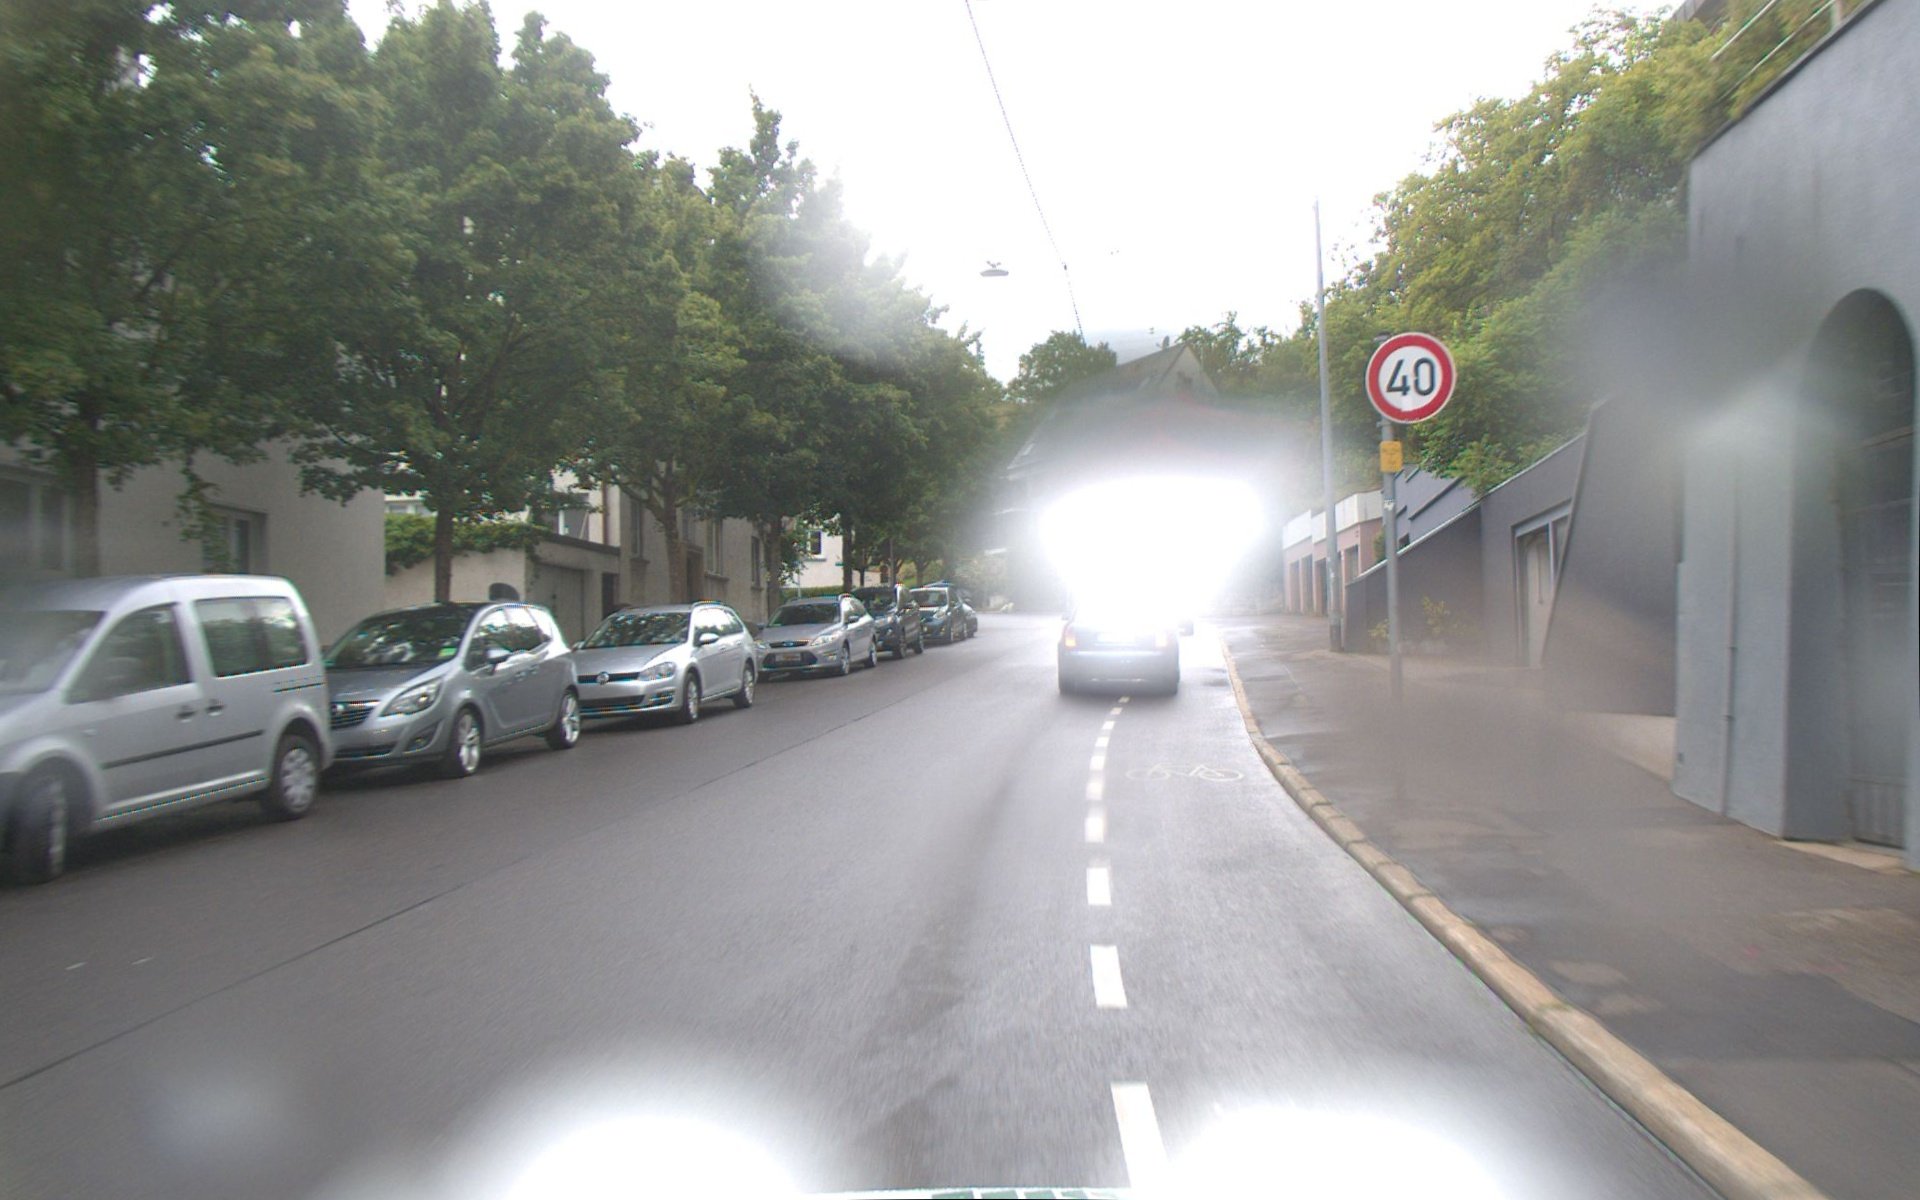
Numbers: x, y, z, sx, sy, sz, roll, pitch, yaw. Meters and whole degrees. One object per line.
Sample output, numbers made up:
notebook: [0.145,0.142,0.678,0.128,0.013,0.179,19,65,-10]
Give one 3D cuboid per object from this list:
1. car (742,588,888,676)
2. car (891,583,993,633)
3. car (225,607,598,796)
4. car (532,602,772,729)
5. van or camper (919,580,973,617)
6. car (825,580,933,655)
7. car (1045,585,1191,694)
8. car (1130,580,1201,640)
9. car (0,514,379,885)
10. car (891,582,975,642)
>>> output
car: [-2.731,0.604,32.267,1.766,1.579,4.803,0,-1,8]
car: [-0.609,0.250,50.702,1.963,1.415,4.176,-1,0,-18]
car: [-5.119,0.894,16.114,1.766,1.511,4.239,-3,-1,7]
car: [-3.896,0.800,21.762,1.766,1.479,4.600,0,-1,7]
van or camper: [-0.859,-0.070,99.153,1.965,2.049,3.974,1,-2,-21]
car: [-1.825,0.387,38.577,1.766,1.655,4.143,0,0,8]
car: [2.450,0.525,24.699,1.814,1.438,4.365,-1,1,10]
car: [6.005,0.263,48.339,1.909,1.588,4.266,3,1,7]
car: [-5.919,0.571,11.181,1.873,2.036,4.551,0,-1,8]
car: [-0.695,0.300,45.931,1.676,1.488,3.885,1,2,9]
